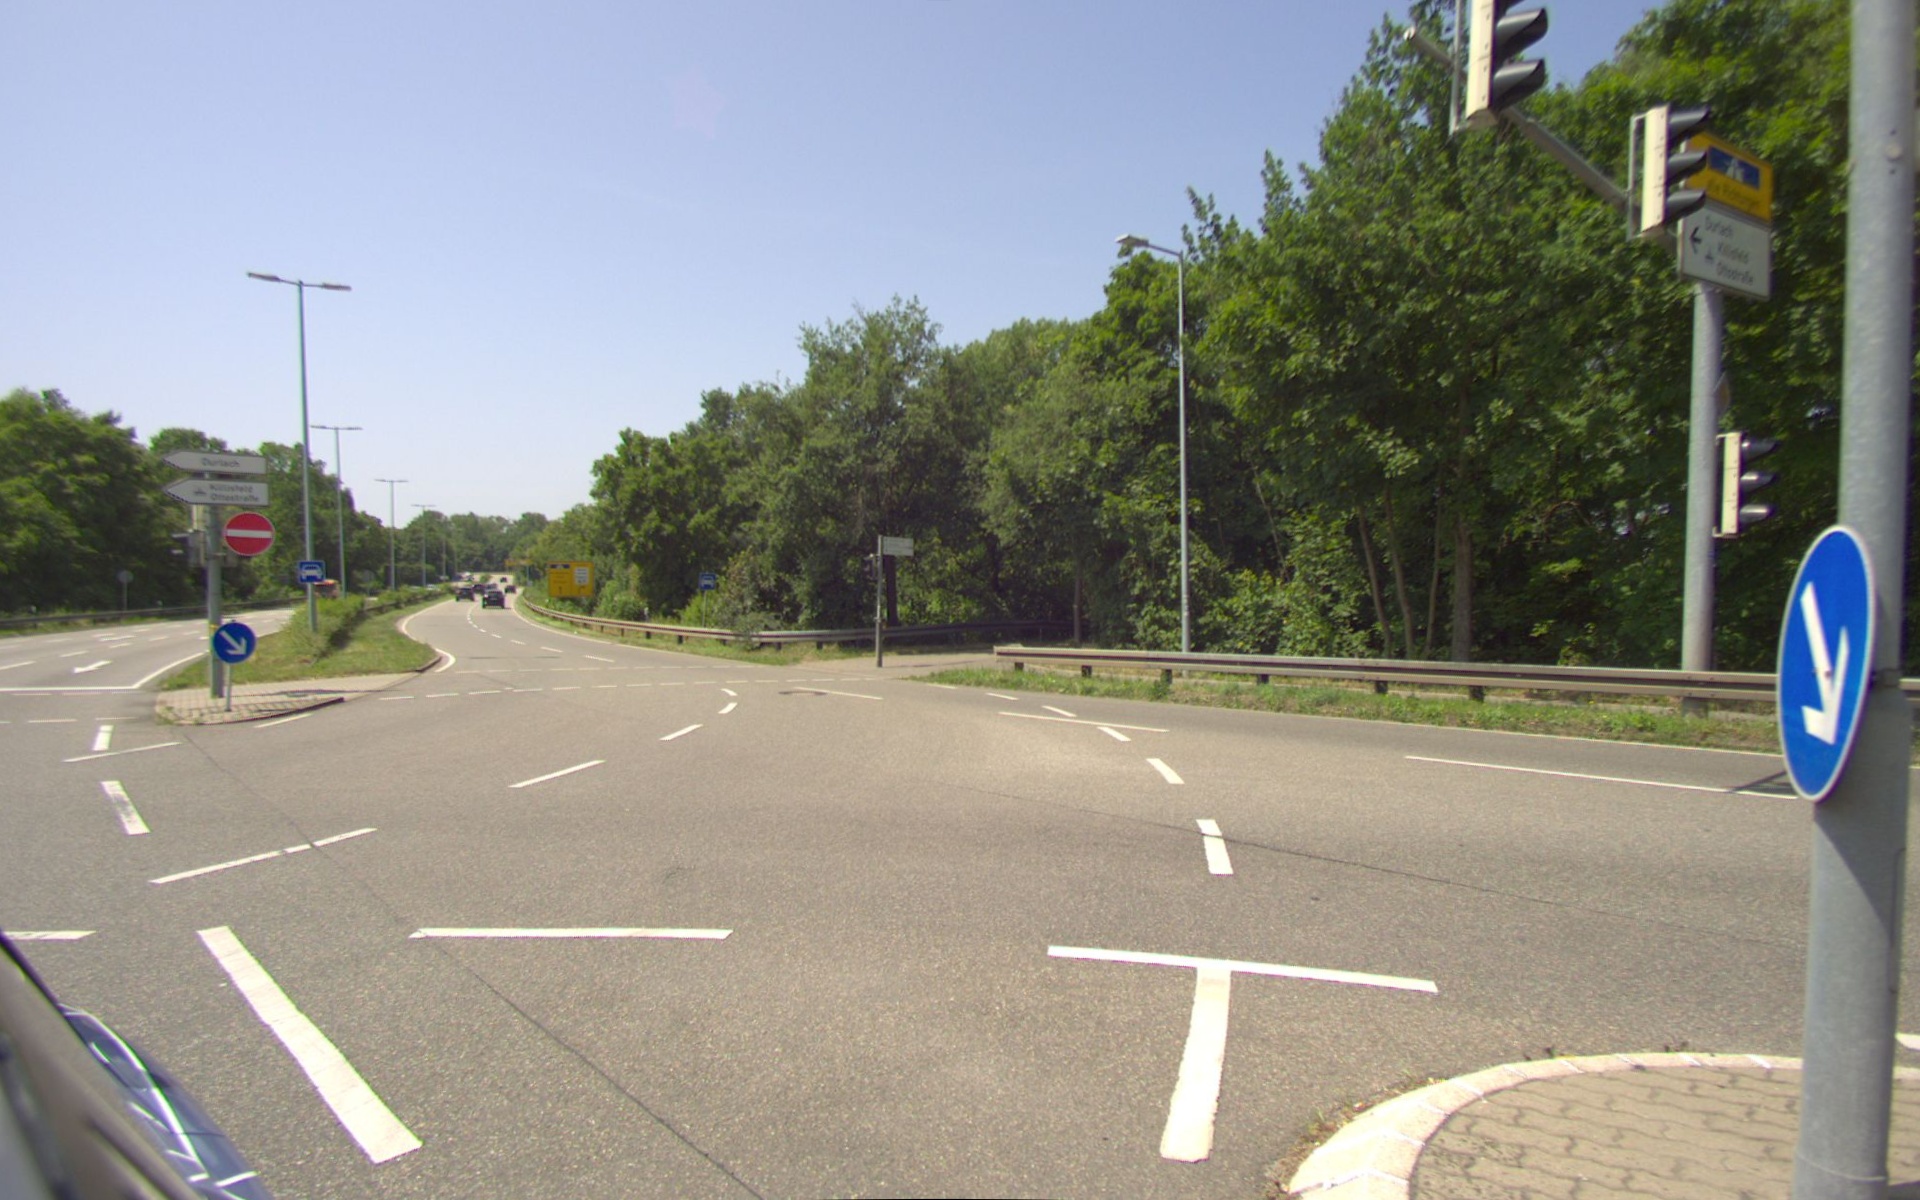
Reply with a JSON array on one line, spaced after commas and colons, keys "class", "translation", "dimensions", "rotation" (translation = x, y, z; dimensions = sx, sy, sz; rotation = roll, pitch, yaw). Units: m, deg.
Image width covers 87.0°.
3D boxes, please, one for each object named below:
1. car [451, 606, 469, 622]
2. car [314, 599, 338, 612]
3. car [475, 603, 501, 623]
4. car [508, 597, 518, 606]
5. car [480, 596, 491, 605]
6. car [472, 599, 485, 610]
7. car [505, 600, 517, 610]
[{"class": "car", "translation": [-55.522, 1.499, 112.375], "dimensions": [1.710, 1.701, 3.836], "rotation": [-1, 0, -26]}, {"class": "car", "translation": [-71.347, 0.592, 113.937], "dimensions": [1.815, 1.441, 3.590], "rotation": [-1, 0, -23]}, {"class": "car", "translation": [-41.777, 1.145, 89.525], "dimensions": [1.683, 1.639, 4.012], "rotation": [-1, 0, -30]}, {"class": "car", "translation": [-104.392, 0.333, 236.431], "dimensions": [1.965, 2.029, 4.013], "rotation": [-1, 0, -23]}, {"class": "car", "translation": [-84.359, 0.118, 179.907], "dimensions": [1.561, 1.497, 3.561], "rotation": [-1, 0, -23]}, {"class": "car", "translation": [-68.988, 0.656, 145.038], "dimensions": [1.751, 1.514, 3.591], "rotation": [-1, 0, -25]}, {"class": "car", "translation": [-74.645, 0.815, 168.185], "dimensions": [1.751, 1.514, 3.591], "rotation": [-1, 0, -23]}]
